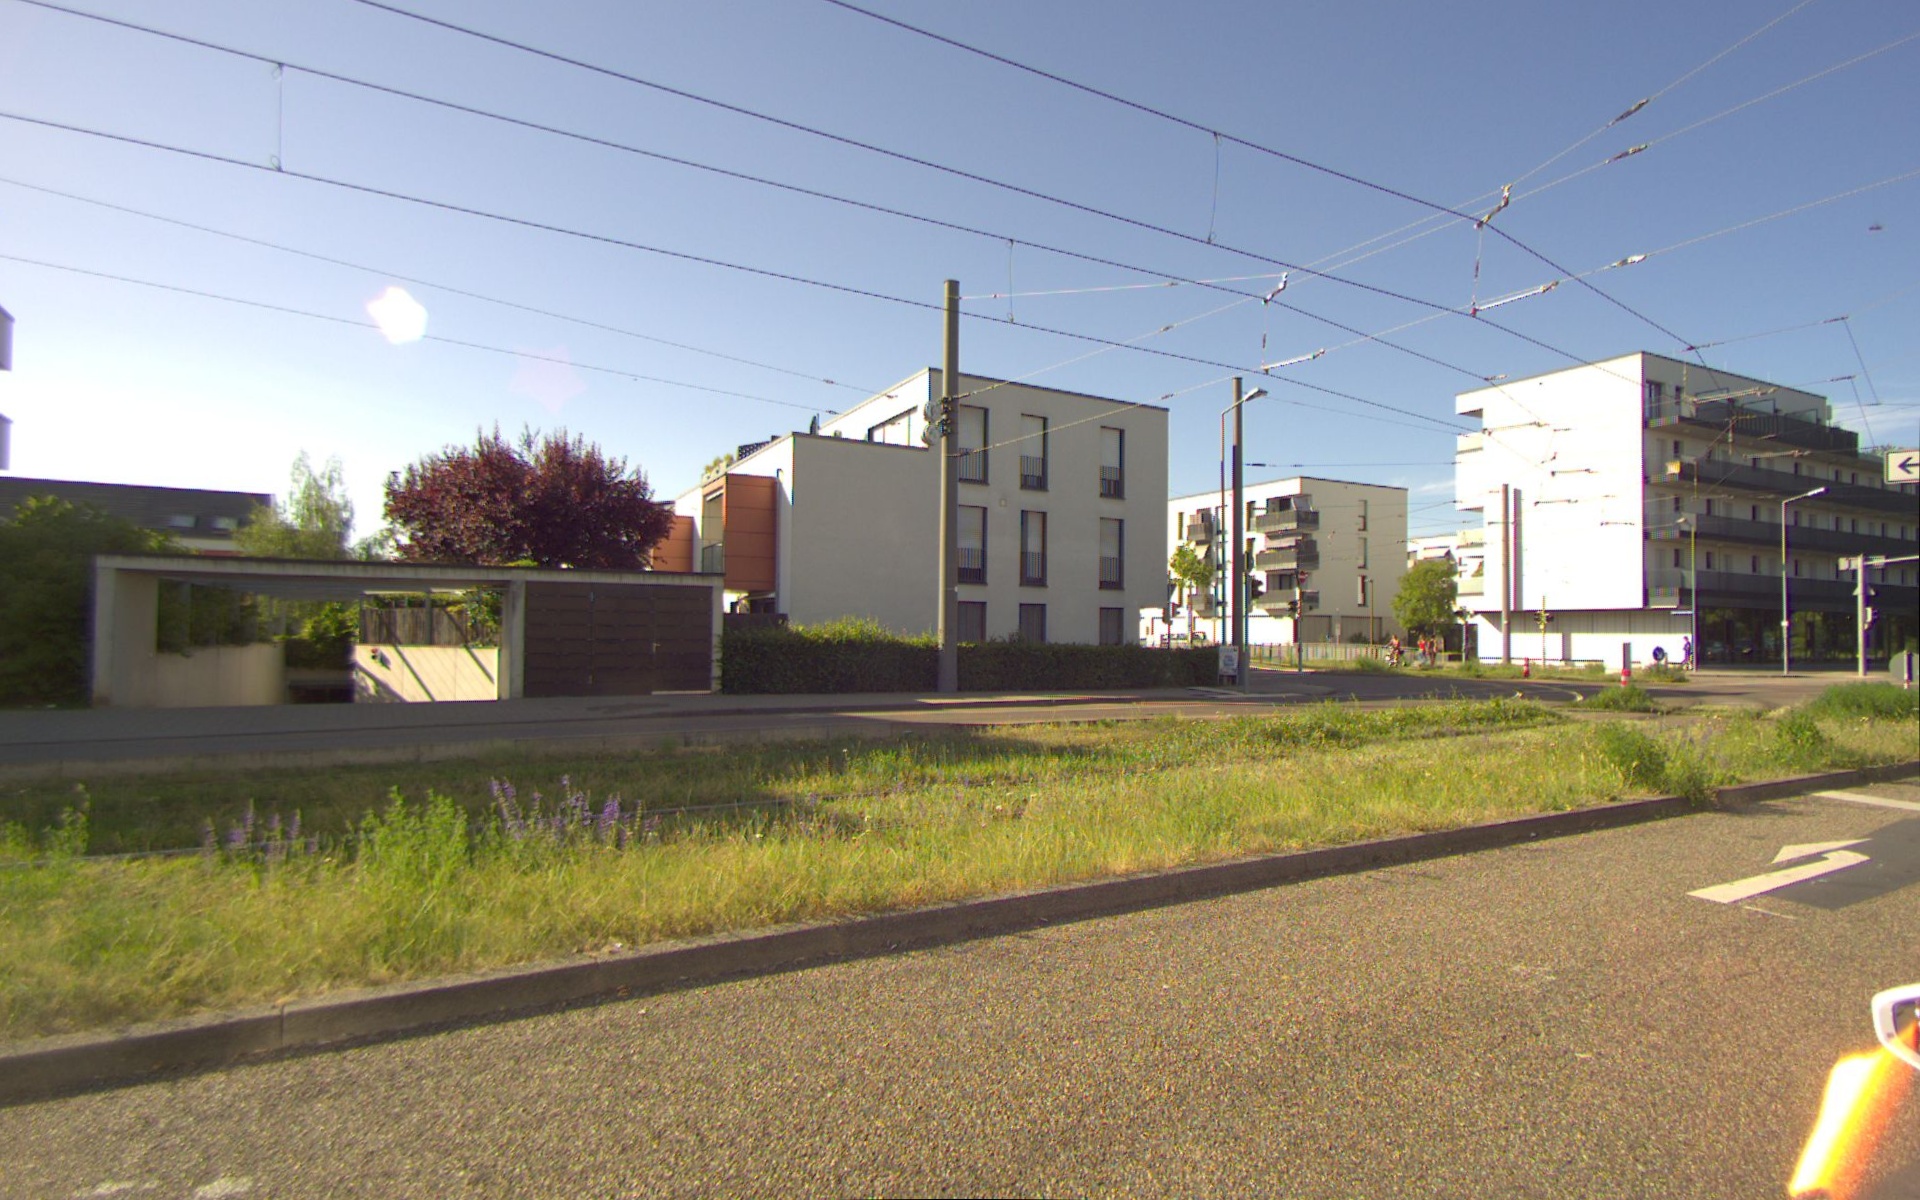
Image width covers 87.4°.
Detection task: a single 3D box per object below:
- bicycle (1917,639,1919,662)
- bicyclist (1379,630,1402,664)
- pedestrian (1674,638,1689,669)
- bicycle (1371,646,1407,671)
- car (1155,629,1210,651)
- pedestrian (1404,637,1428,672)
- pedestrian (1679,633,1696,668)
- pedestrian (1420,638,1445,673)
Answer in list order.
[{"bbox_3d":[57.607,3.020,59.775,1.895,1.350,0.626,2,0,-37],"label":"bicycle"},{"bbox_3d":[21.213,2.329,49.493,0.634,1.635,0.777,2,0,-36],"label":"bicyclist"},{"bbox_3d":[36.737,2.716,51.171,0.513,1.523,0.438,2,0,-35],"label":"pedestrian"},{"bbox_3d":[21.118,2.866,49.432,1.843,1.139,0.814,2,0,-36],"label":"bicycle"},{"bbox_3d":[17.754,3.172,80.330,1.974,1.595,4.309,2,0,-27],"label":"car"},{"bbox_3d":[21.919,2.618,48.253,0.736,1.626,0.765,2,0,-37],"label":"pedestrian"},{"bbox_3d":[37.296,2.581,51.518,0.513,1.767,0.539,2,0,-35],"label":"pedestrian"},{"bbox_3d":[22.342,2.627,47.519,0.736,1.626,0.765,2,0,-37],"label":"pedestrian"}]
